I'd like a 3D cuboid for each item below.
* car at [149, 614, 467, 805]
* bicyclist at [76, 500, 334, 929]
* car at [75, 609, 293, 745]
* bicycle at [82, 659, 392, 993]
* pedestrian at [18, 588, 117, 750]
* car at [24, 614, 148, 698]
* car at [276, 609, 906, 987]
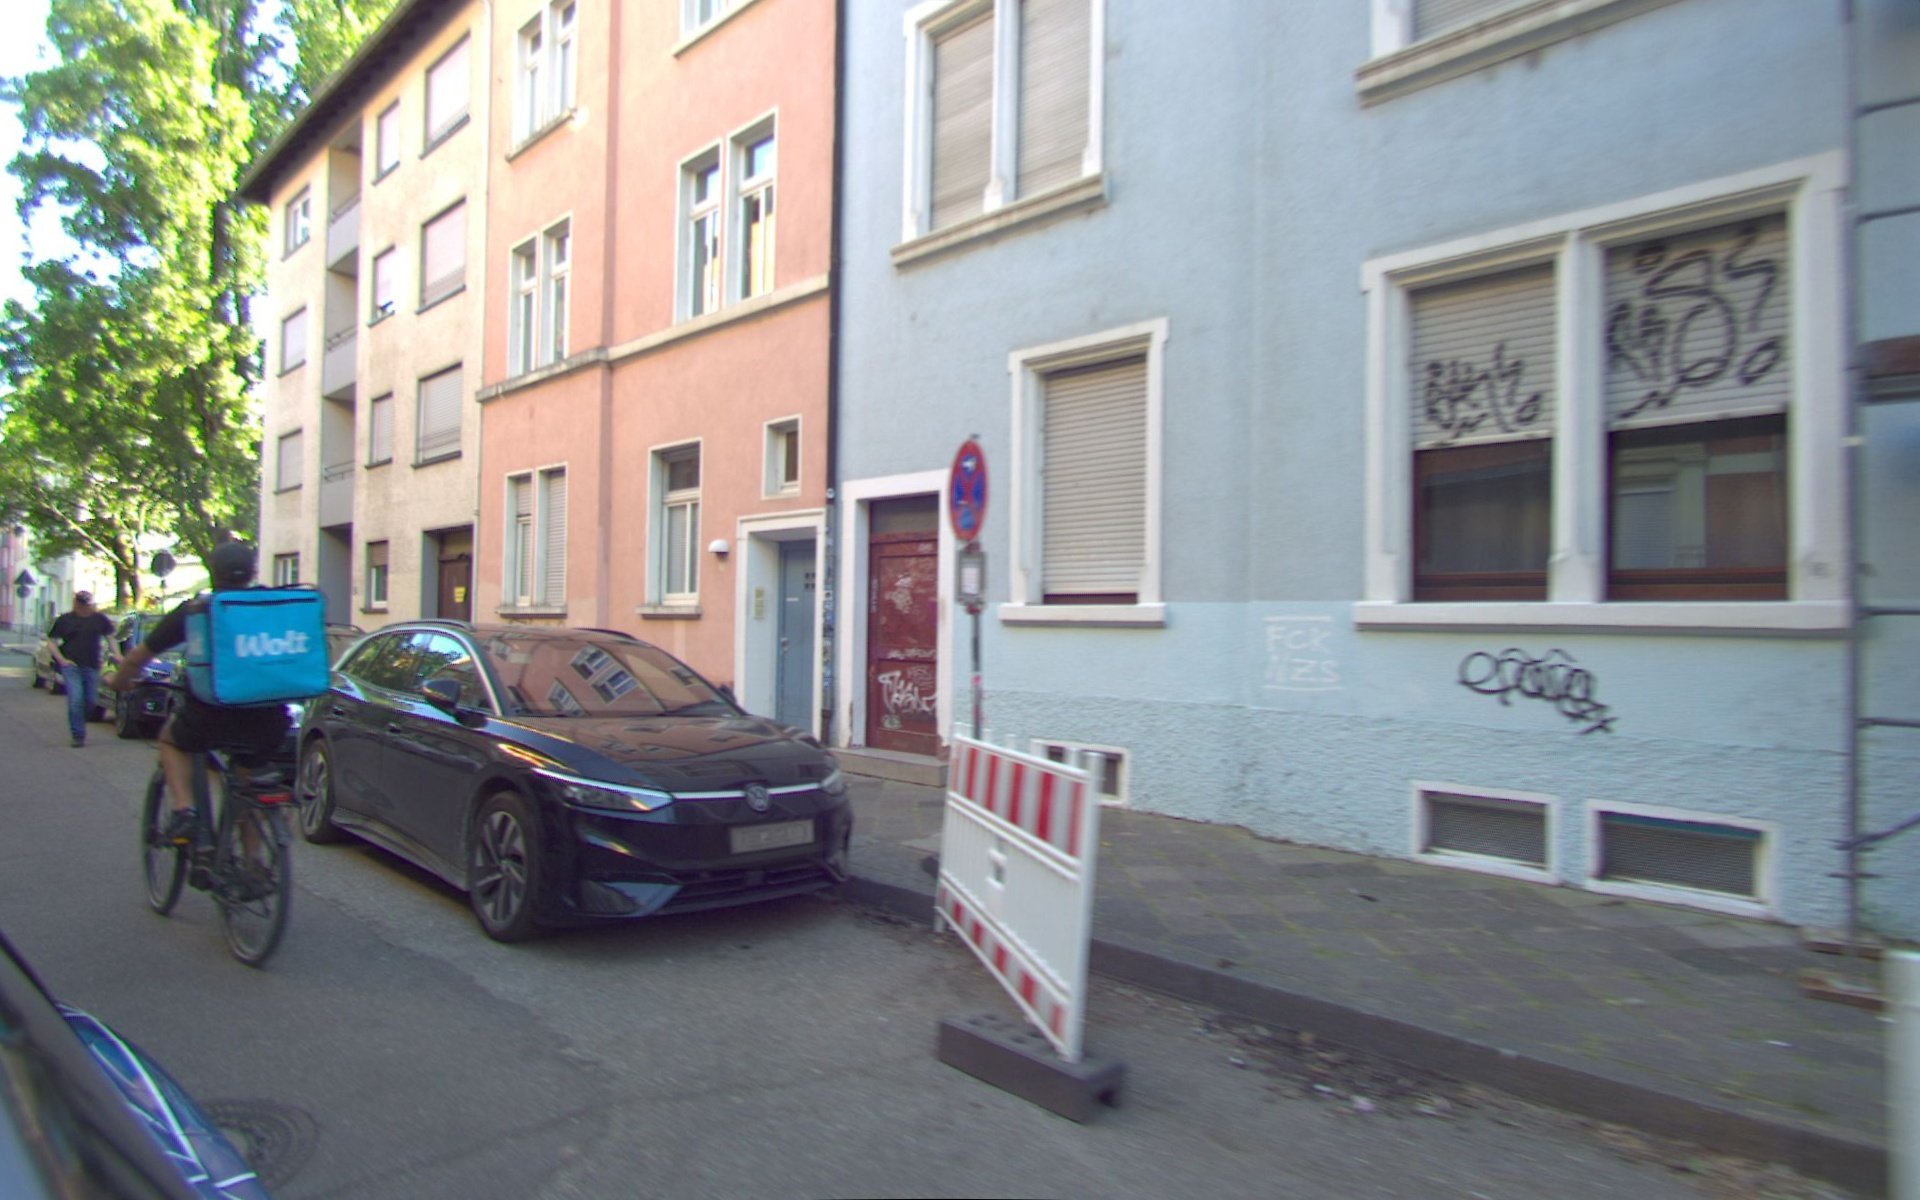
[{"bbox_3d":[-6.531,0.937,9.957,4.000,1.503,1.624,-1,-4,43],"label":"car"},{"bbox_3d":[-3.389,0.465,4.544,0.892,1.690,0.658,0,-4,40],"label":"bicyclist"},{"bbox_3d":[-10.681,0.946,13.816,4.249,1.586,1.624,-1,-3,43],"label":"car"},{"bbox_3d":[-3.364,0.895,4.639,1.845,1.166,0.679,0,-3,41],"label":"bicycle"},{"bbox_3d":[-10.277,0.769,11.653,0.998,1.767,0.730,-1,-2,44],"label":"pedestrian"},{"bbox_3d":[-17.541,1.079,20.253,3.660,1.533,1.445,-1,-3,43],"label":"car"},{"bbox_3d":[-2.606,0.854,6.348,4.696,1.520,1.747,-1,-3,43],"label":"car"}]
